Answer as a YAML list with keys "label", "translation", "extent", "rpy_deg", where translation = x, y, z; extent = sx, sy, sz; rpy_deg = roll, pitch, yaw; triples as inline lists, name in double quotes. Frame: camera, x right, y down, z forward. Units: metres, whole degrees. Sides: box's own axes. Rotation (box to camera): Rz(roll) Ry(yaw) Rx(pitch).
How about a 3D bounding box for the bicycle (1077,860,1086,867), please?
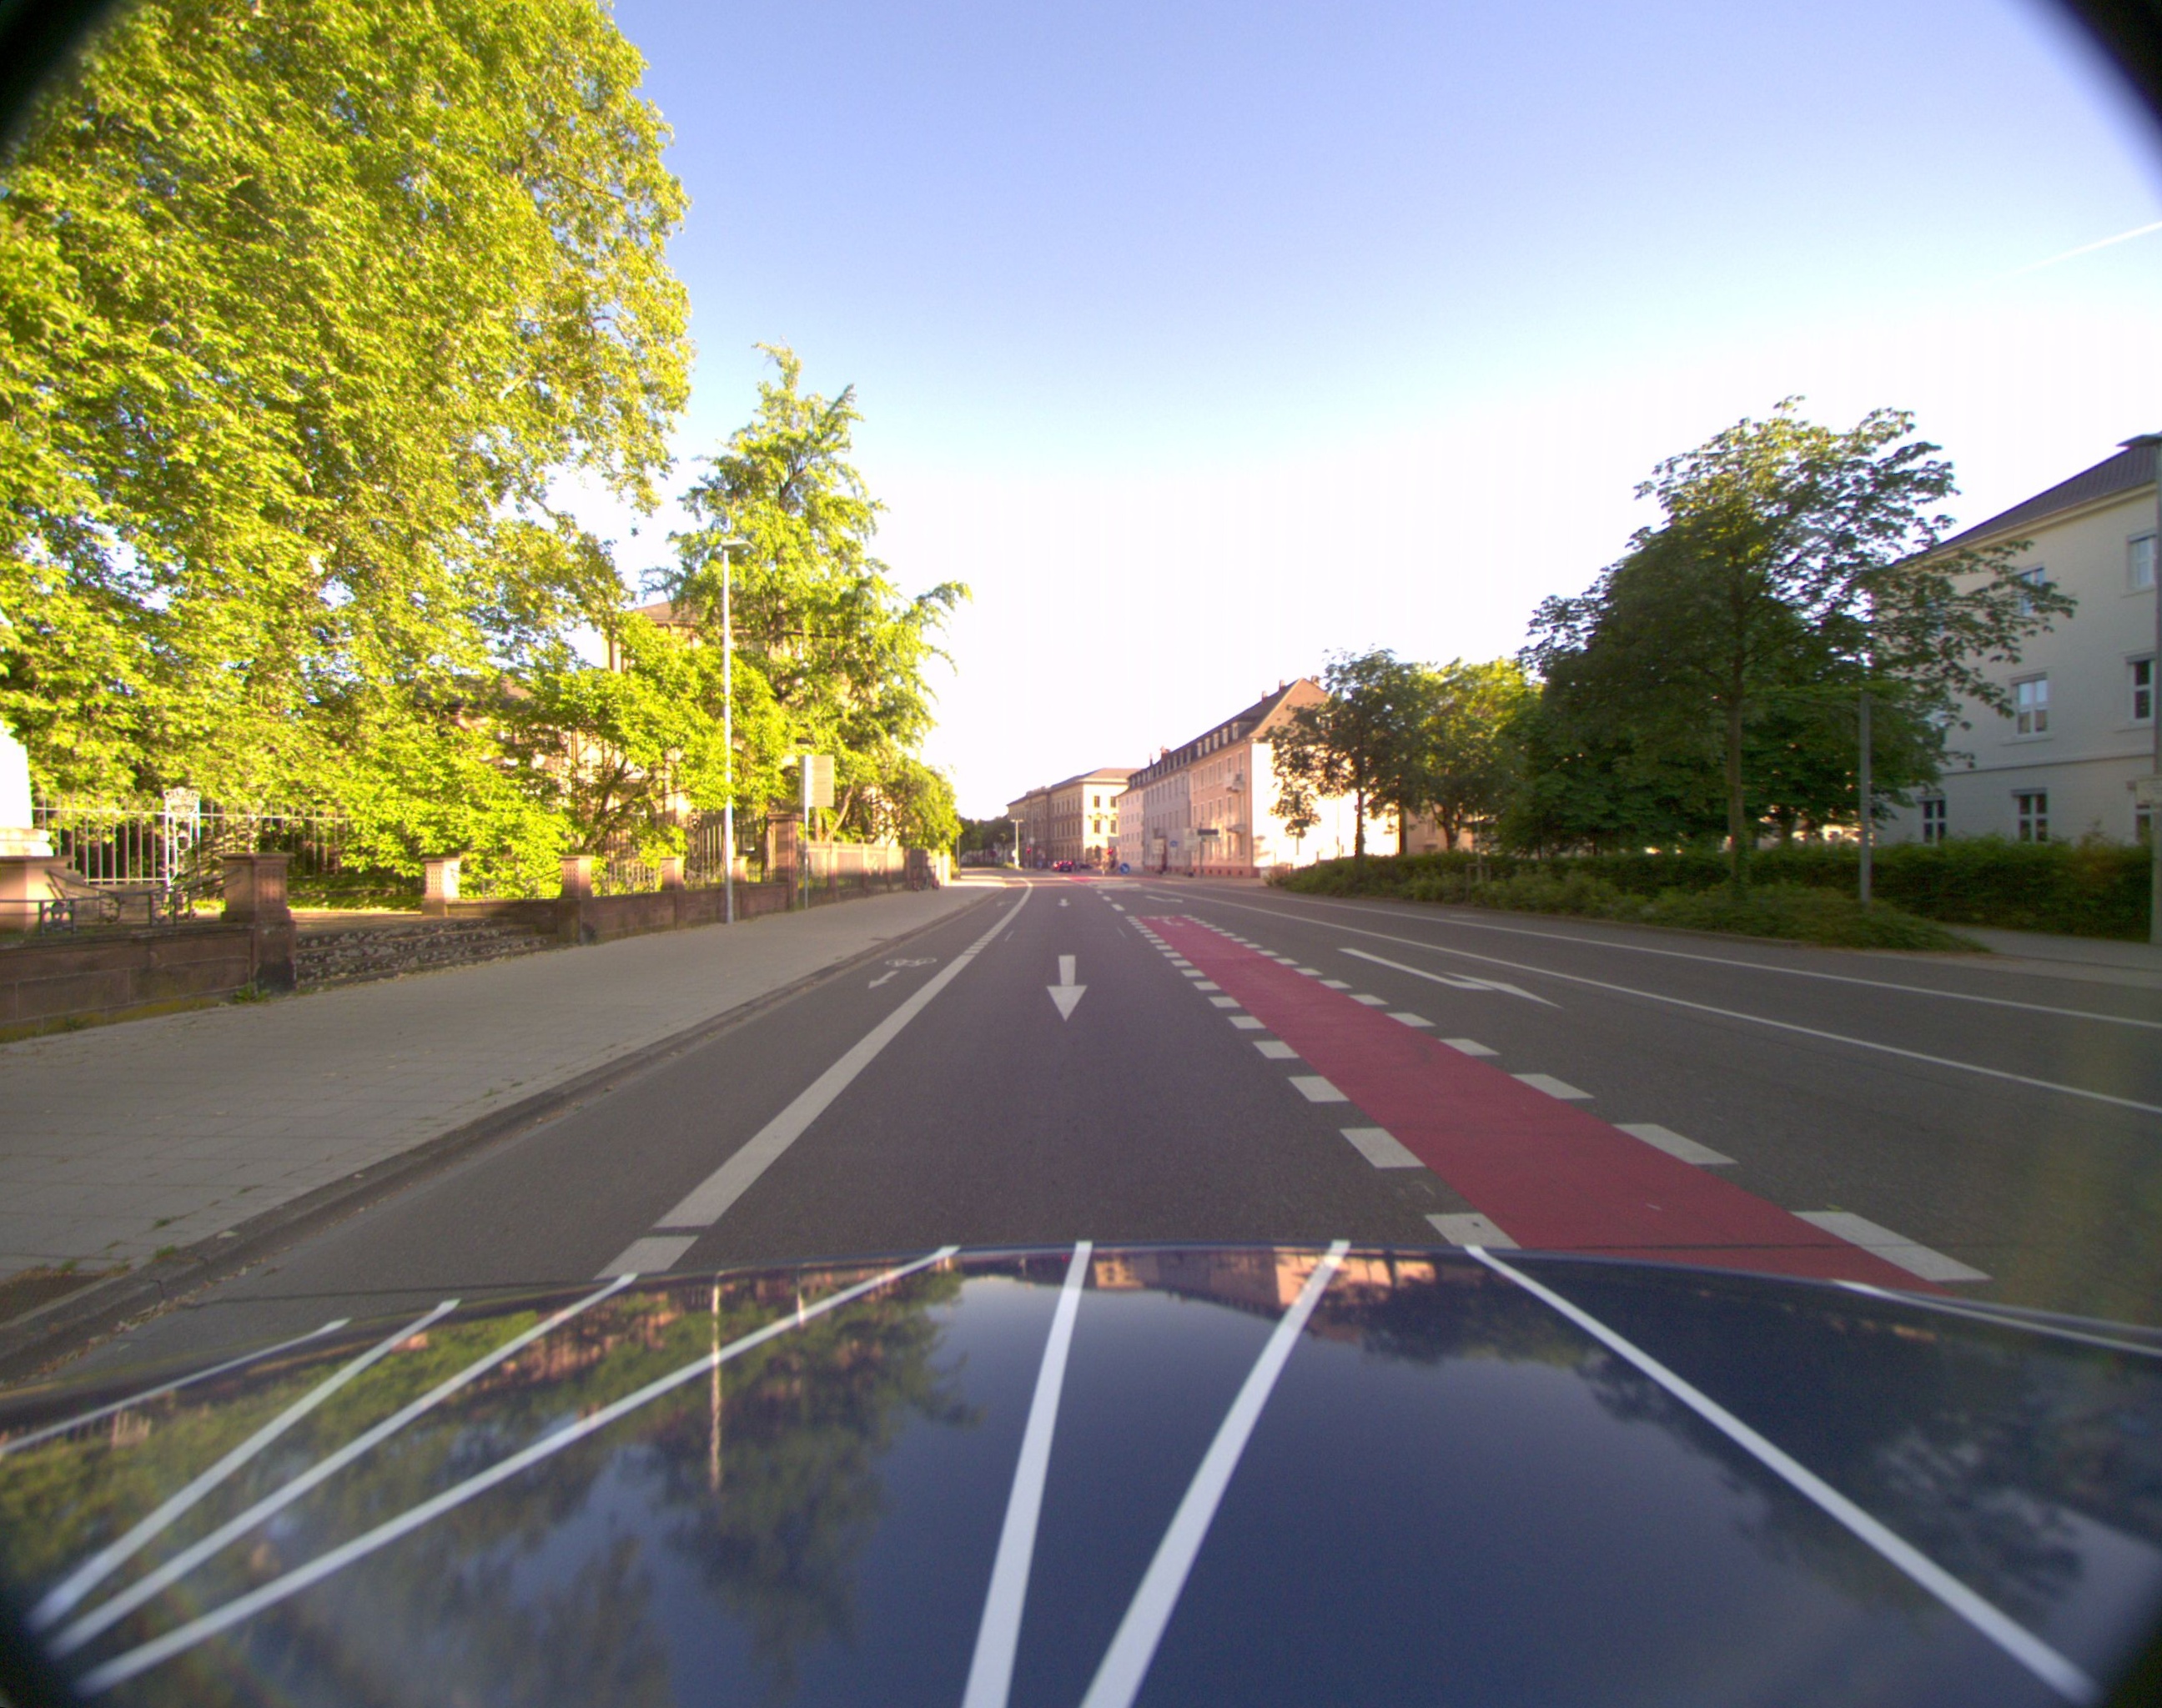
- label: "bicycle"
  translation: [0.060, 1.305, 104.196]
  extent: [0.663, 0.907, 2.861]
  rpy_deg: [0, 0, -9]

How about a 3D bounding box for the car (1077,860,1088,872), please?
- label: "car"
  translation: [0.249, 2.071, 129.721]
  extent: [1.867, 1.871, 4.000]
  rpy_deg: [-2, 1, 1]

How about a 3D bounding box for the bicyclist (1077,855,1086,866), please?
- label: "bicyclist"
  translation: [0.067, 0.883, 104.157]
  extent: [1.026, 1.481, 0.870]
  rpy_deg: [0, 0, -9]

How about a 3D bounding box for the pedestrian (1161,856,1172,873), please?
- label: "pedestrian"
  translation: [9.794, 1.152, 87.382]
  extent: [0.949, 1.894, 1.062]
  rpy_deg: [-2, 1, -7]

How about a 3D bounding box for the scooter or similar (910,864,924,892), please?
- label: "scooter or similar"
  translation: [-7.555, 1.102, 35.009]
  extent: [0.577, 1.246, 1.486]
  rpy_deg: [0, 0, -15]

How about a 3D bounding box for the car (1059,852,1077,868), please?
- label: "car"
  translation: [-1.625, 0.773, 96.553]
  extent: [1.999, 2.002, 3.998]
  rpy_deg: [0, 0, -5]

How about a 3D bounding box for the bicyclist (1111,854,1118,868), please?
- label: "bicyclist"
  translation: [3.674, 0.751, 82.756]
  extent: [0.691, 1.553, 0.838]
  rpy_deg: [1, 0, -3]

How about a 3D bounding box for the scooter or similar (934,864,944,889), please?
- label: "scooter or similar"
  translation: [-7.095, 1.105, 37.943]
  extent: [0.517, 1.233, 1.521]
  rpy_deg: [0, 0, -11]

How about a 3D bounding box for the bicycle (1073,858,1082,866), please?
- label: "bicycle"
  translation: [-0.531, 1.132, 109.385]
  extent: [0.956, 1.216, 2.776]
  rpy_deg: [0, 0, -9]

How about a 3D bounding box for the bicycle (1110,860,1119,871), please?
- label: "bicycle"
  translation: [3.668, 1.209, 82.798]
  extent: [0.697, 1.152, 2.245]
  rpy_deg: [1, 0, -3]

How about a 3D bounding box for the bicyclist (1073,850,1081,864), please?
- label: "bicyclist"
  translation: [-0.543, 0.473, 109.471]
  extent: [0.956, 2.002, 1.307]
  rpy_deg: [0, 0, -9]

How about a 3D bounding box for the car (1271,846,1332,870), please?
- label: "car"
  translation: [16.773, 0.299, 57.853]
  extent: [4.000, 1.652, 1.998]
  rpy_deg: [-2, 1, -9]

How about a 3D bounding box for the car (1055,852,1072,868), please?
- label: "car"
  translation: [-2.393, 0.808, 102.321]
  extent: [1.999, 2.002, 3.998]
  rpy_deg: [0, 0, -5]

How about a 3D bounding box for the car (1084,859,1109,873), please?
- label: "car"
  translation: [2.638, 2.043, 129.102]
  extent: [3.997, 2.002, 1.999]
  rpy_deg: [-3, 1, -1]

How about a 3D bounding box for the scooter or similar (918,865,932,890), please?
- label: "scooter or similar"
  translation: [-7.569, 1.116, 36.861]
  extent: [0.576, 1.177, 1.487]
  rpy_deg: [0, 0, -7]
